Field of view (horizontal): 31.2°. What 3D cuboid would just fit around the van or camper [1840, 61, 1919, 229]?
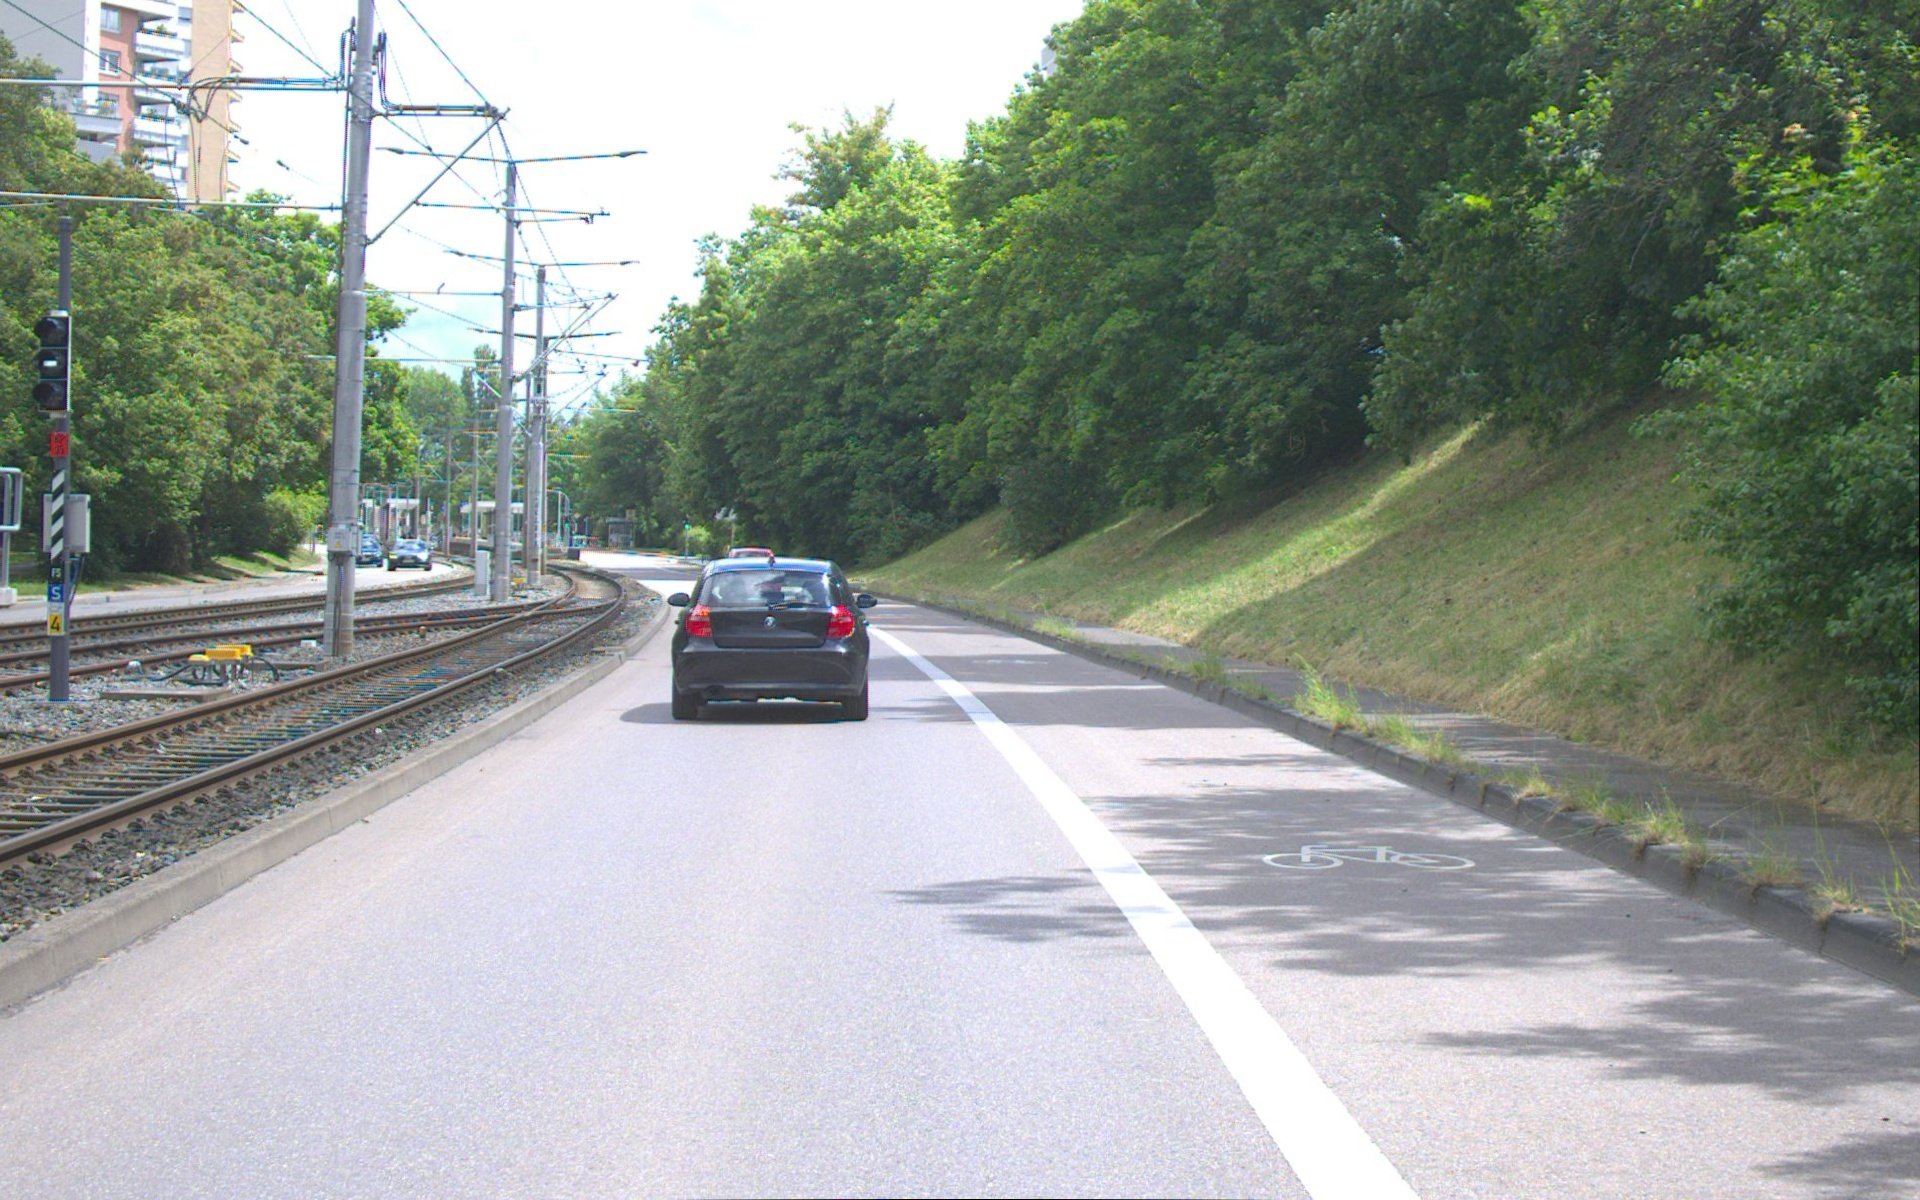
[{"bbox_3d":[14.648,-6.573,48.719,2.216,2.062,6.163,1,1,-5],"label":"van or camper"}]

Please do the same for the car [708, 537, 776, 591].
[{"bbox_3d":[-6.145,-1.018,96.750,1.781,1.454,3.922,1,1,-5],"label":"car"}]

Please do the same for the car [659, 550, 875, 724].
[{"bbox_3d":[-1.797,0.281,30.974,1.781,1.454,3.922,0,1,-6],"label":"car"}]

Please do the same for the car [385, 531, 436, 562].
[{"bbox_3d":[-25.044,-2.442,156.813,1.835,1.386,4.862,-1,1,-4],"label":"car"}]

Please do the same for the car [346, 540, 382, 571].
[{"bbox_3d":[-30.188,-2.257,174.129,1.774,1.493,3.998,1,1,-10],"label":"car"}]
